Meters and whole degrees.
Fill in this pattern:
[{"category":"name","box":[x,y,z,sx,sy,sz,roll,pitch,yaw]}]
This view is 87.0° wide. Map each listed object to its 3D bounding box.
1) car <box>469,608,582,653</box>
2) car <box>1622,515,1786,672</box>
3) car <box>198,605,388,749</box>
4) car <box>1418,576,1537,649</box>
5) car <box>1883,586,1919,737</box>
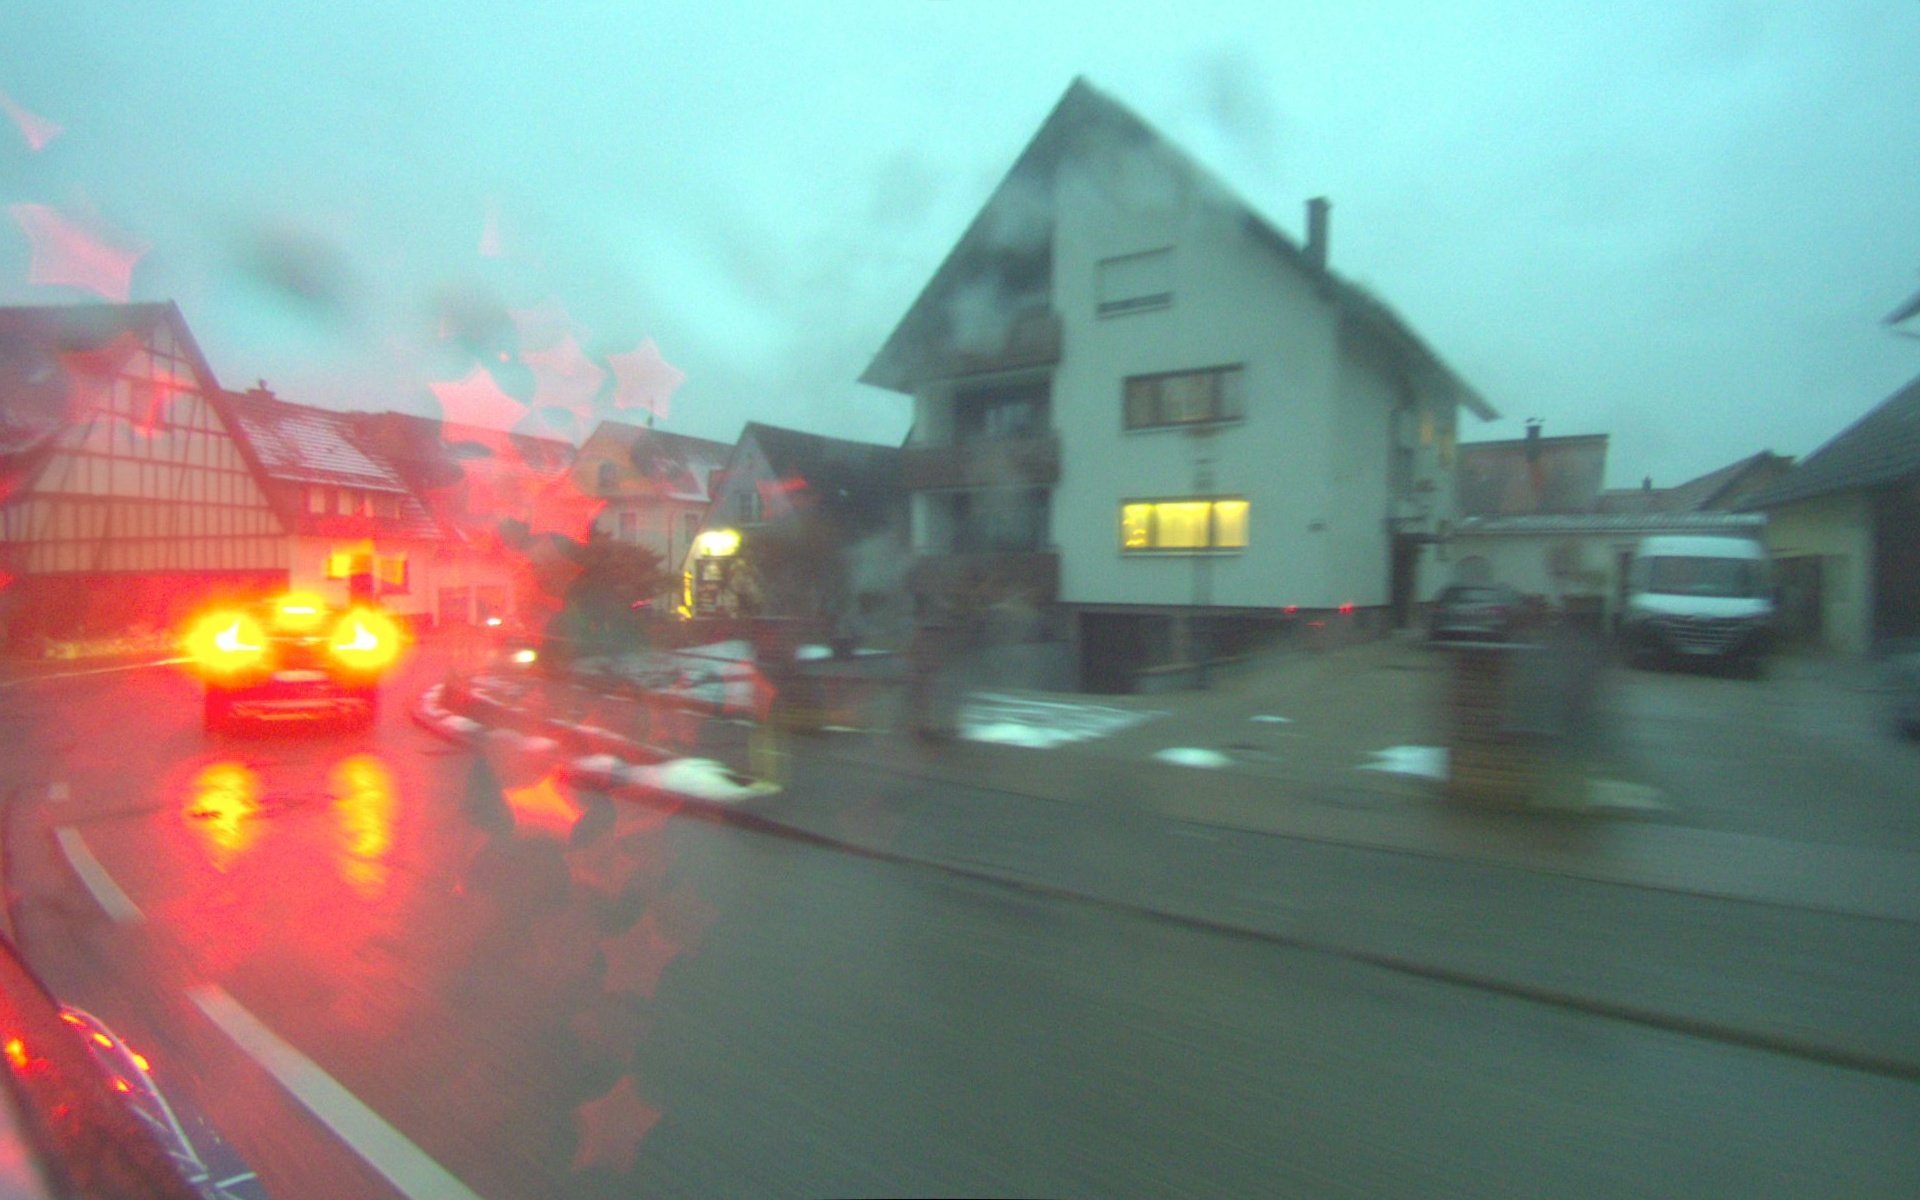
[{"category":"car","box":[-16.499,1.109,38.681,1.979,1.590,4.143,-1,0,11]},{"category":"car","box":[14.037,-0.125,19.359,2.208,2.559,5.292,-1,0,34]},{"category":"car","box":[-9.249,0.890,13.859,1.853,1.625,4.612,0,-1,-37]},{"category":"car","box":[11.745,0.231,22.845,1.817,1.497,3.951,-1,0,36]},{"category":"car","box":[9.727,0.601,8.722,1.814,1.473,3.958,-1,0,31]}]
